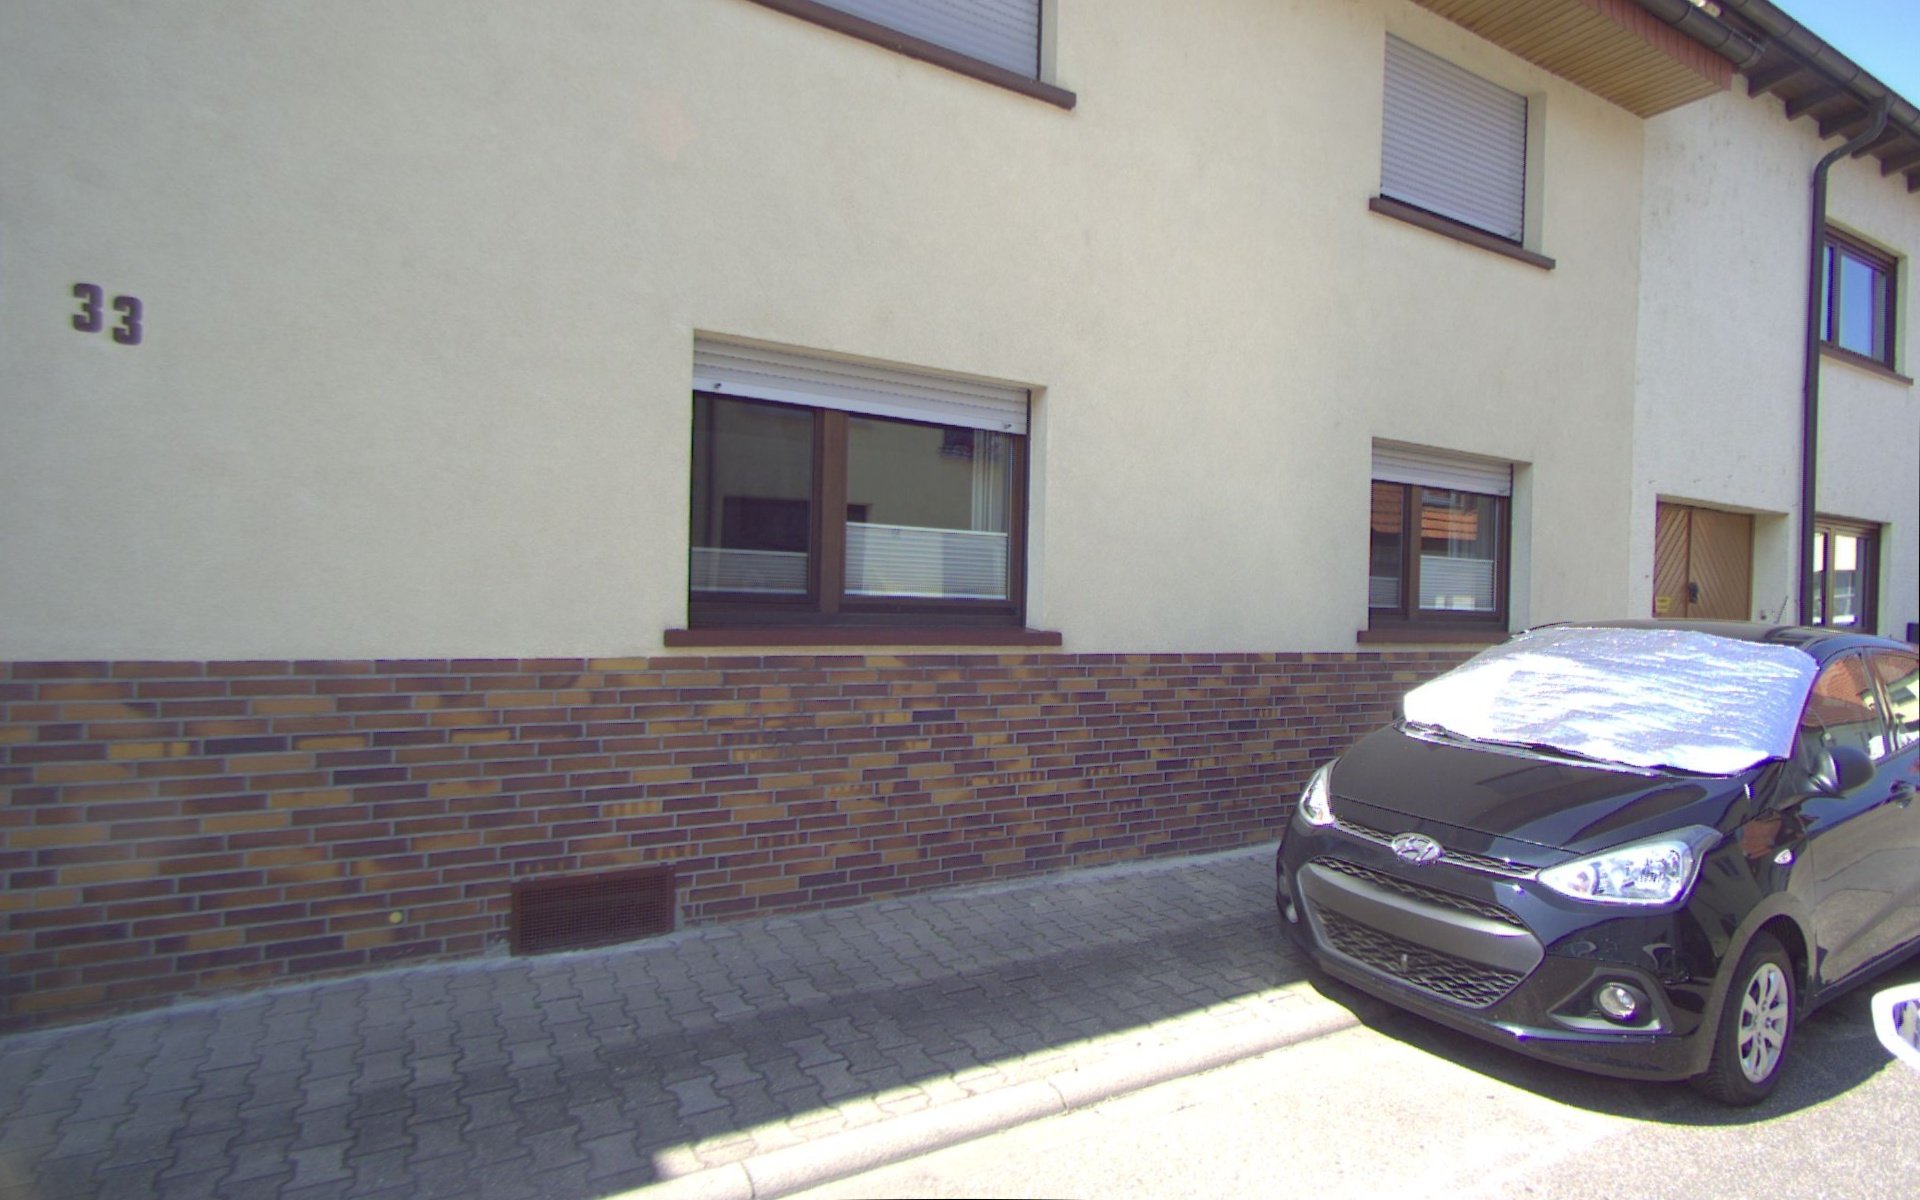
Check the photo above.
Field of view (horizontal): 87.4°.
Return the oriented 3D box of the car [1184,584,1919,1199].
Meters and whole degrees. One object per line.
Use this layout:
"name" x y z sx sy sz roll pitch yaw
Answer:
"car" 2.961 0.791 4.266 3.898 1.558 1.631 2 -1 -32
